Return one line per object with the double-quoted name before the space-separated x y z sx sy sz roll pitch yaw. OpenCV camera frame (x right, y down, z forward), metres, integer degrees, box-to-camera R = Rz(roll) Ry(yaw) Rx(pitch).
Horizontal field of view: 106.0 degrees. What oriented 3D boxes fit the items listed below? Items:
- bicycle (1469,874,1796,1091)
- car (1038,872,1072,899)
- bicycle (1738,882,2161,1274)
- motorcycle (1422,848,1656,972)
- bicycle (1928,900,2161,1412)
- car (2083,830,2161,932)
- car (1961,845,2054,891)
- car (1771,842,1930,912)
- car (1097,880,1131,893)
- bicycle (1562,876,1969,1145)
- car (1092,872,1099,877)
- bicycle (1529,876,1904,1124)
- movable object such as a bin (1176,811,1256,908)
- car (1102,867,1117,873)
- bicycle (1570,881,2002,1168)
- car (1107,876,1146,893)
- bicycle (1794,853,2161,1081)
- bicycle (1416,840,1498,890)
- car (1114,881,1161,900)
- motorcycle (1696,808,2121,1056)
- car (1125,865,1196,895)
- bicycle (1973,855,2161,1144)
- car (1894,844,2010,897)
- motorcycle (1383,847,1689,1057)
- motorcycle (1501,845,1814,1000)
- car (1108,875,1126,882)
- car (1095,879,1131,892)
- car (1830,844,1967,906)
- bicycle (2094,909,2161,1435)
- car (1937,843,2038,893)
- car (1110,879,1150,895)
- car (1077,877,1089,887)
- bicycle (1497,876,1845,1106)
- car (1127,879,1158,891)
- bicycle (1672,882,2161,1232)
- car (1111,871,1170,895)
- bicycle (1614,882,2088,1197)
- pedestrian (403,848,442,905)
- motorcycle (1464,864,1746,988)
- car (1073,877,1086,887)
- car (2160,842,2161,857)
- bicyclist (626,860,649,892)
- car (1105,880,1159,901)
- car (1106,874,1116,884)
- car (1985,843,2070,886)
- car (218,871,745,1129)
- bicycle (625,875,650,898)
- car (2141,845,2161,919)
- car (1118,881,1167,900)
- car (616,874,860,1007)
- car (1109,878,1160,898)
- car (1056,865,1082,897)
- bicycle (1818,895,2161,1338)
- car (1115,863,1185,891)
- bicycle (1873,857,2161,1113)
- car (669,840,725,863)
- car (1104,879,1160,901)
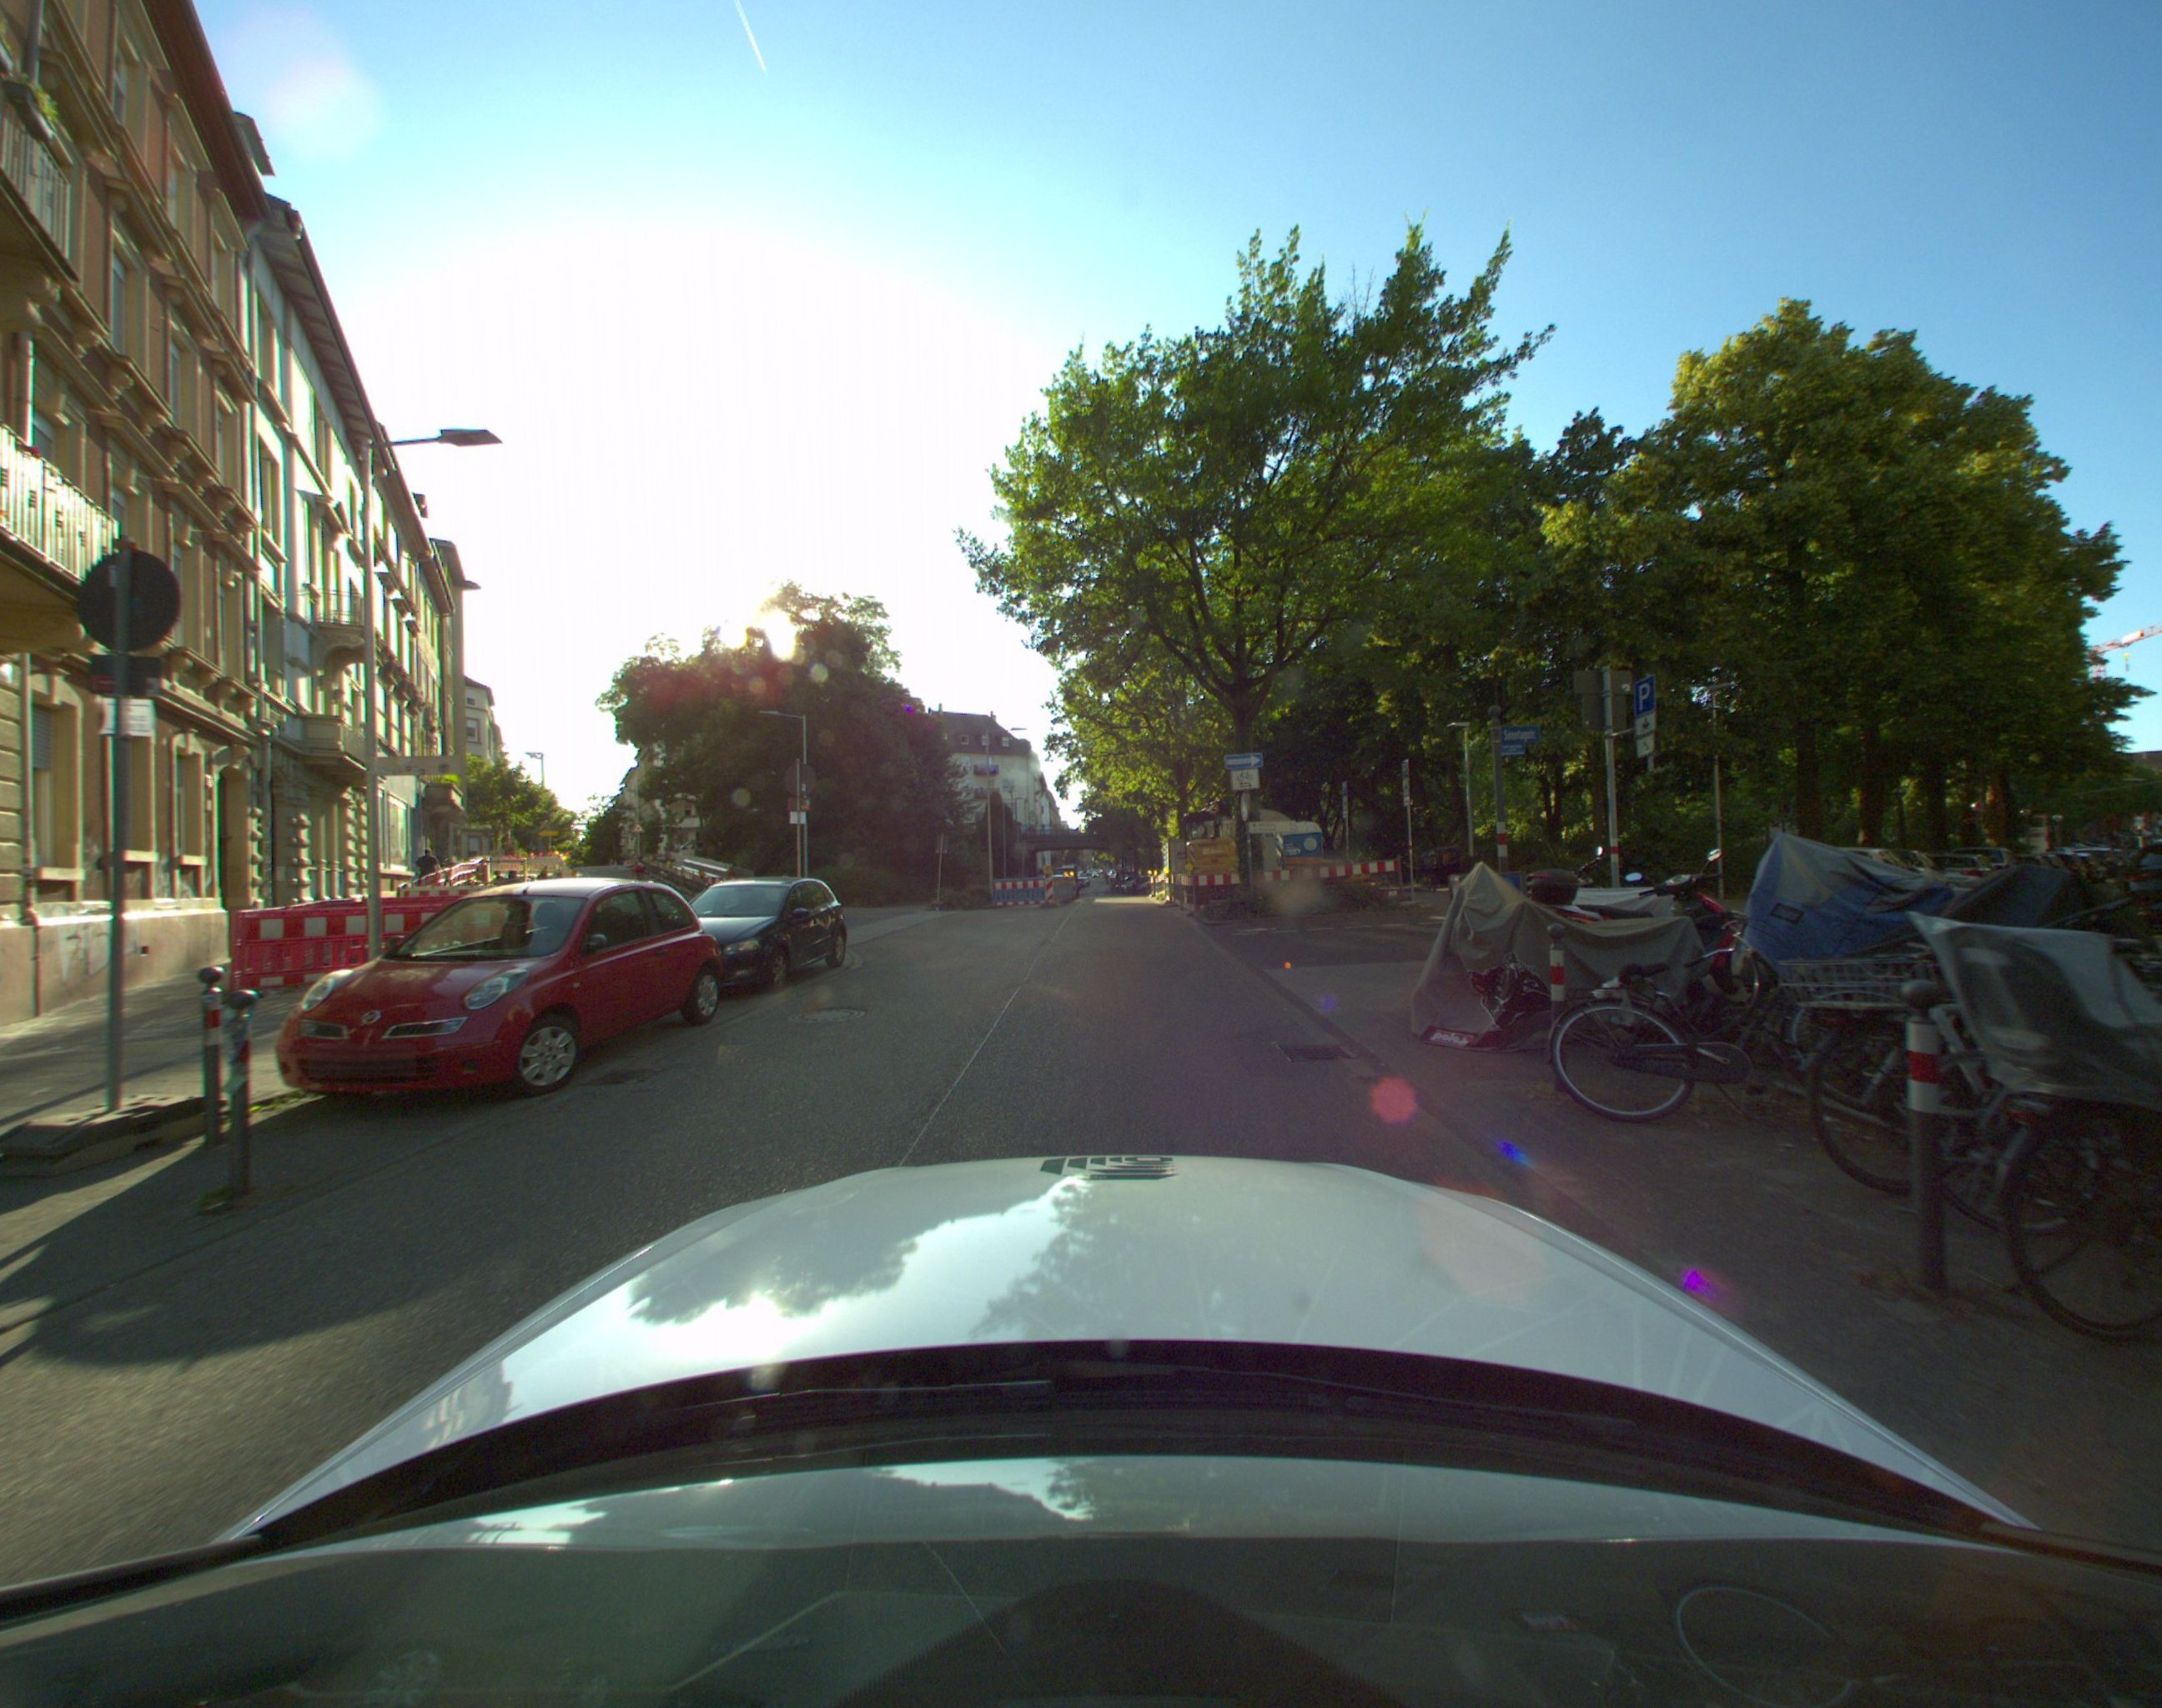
"bicycle" 3.497 0.788 5.188 1.921 1.246 0.302 -2 -1 -5
"car" -1.459 1.843 47.083 1.709 1.418 4.106 -3 -3 1
"bicycle" 3.426 0.755 2.956 1.902 1.246 0.302 -2 -1 -5
"motorcycle" 5.534 0.643 9.915 2.363 1.341 0.938 -2 -1 -8
"bicycle" 3.443 0.754 2.283 1.921 1.246 0.302 -2 -1 -5
"car" 16.800 0.370 12.169 4.384 1.378 1.977 1 -6 -36
"car" 35.293 0.533 31.006 4.016 1.586 1.861 2 0 -35
"car" 17.739 0.531 18.736 4.016 1.413 1.861 2 0 -35
"car" 4.373 4.306 108.312 4.374 1.610 1.779 -1 -4 -1
"bicycle" 3.523 0.772 4.214 1.921 1.246 0.302 -2 -1 -5
"car" 4.221 5.896 232.613 1.806 1.398 3.975 -3 -3 1
"bicycle" 3.535 0.778 4.552 1.921 1.246 0.302 -2 -1 -5
"movable object such as a bin" 4.148 0.170 24.618 1.979 2.699 3.123 -2 -1 15
"car" 8.692 4.902 247.194 4.371 1.610 1.781 -1 -4 1
"bicycle" 3.420 0.790 3.975 1.921 1.246 0.302 -2 -1 -5
"car" 5.284 3.582 94.275 4.374 1.862 1.915 -1 -4 -1
"bicycle" 5.471 0.648 4.964 1.921 1.246 0.452 -2 -1 -5
"bicycle" 10.585 0.308 23.044 1.024 1.285 2.139 -3 0 -10
"car" 5.500 3.576 79.339 4.374 1.785 1.915 -1 -4 -1
"motorcycle" 5.706 0.499 5.691 2.278 1.531 0.755 -2 -1 -5
"car" 5.496 1.803 56.578 4.729 1.997 1.915 -1 -4 -2
"bicycle" 5.464 0.630 3.917 1.921 1.246 0.479 -2 -1 -5
"car" 26.884 0.510 25.103 4.016 1.463 1.861 2 0 -35
"motorcycle" 3.472 0.687 6.372 1.913 1.412 0.947 -2 -1 29
"motorcycle" 5.279 0.631 7.616 2.267 1.341 0.658 -2 -1 13
"car" 8.620 5.830 196.218 4.371 1.610 1.781 -1 -4 1
"car" 4.027 4.000 102.696 4.374 1.610 1.779 -1 -4 -1
"car" 21.731 0.569 21.621 4.016 1.463 1.861 2 0 -35
"bicycle" 3.527 0.737 1.963 1.921 1.246 0.302 -2 -1 -5
"car" 31.894 0.503 28.645 4.016 1.586 1.861 2 0 -35
"car" 5.563 3.745 92.180 4.374 1.785 1.915 -1 -4 -1
"car" 0.362 4.616 133.993 1.806 1.398 3.975 -3 -3 1
"bicycle" 3.513 0.786 4.872 1.921 1.246 0.302 -2 -1 -5
"car" 8.721 4.419 116.221 4.371 1.610 1.781 -1 -4 1
"bicycle" 3.441 0.774 3.305 1.921 1.246 0.302 -2 -1 -5
"car" 4.531 2.239 62.215 4.374 1.702 1.915 -1 -4 -1
"bicycle" 3.420 0.786 3.641 1.921 1.246 0.302 -2 -1 -5
"pedestrian" -23.944 0.797 29.622 0.946 2.014 0.949 -1 -1 -32
"motorcycle" 5.371 0.736 8.549 2.266 1.180 0.975 -2 -1 14
"car" -0.262 4.278 124.103 1.806 1.398 3.975 -3 -3 1
"car" 26.929 0.435 18.965 4.014 1.520 1.753 1 -6 -33
"bicyclist" -19.919 0.986 36.545 0.809 1.383 0.975 -1 -1 -34
"car" 4.293 3.098 68.753 4.374 1.702 1.915 -1 -4 -1
"car" 5.446 4.481 146.231 1.768 1.610 4.403 -2 -2 2
"car" 39.320 0.442 33.806 4.016 1.586 1.861 2 0 -35
"car" -4.637 0.964 7.177 1.664 1.530 3.999 -2 -1 0
"bicycle" -19.899 1.435 36.534 0.809 0.968 2.086 -1 -1 -34
"car" 22.467 0.484 15.874 4.014 1.378 1.753 1 -6 -33
"car" 5.754 3.471 76.510 4.374 1.702 1.915 -1 -4 -1
"car" -4.597 1.066 11.631 1.663 1.458 4.001 -2 -1 2
"car" 4.798 3.071 73.431 4.374 1.702 1.915 -1 -4 -1
"car" -0.981 2.289 67.082 2.041 2.498 5.694 -1 -3 0
"bicycle" 3.436 0.772 2.626 1.921 1.246 0.302 -2 -1 -5
"car" 4.495 1.527 53.335 4.374 1.702 1.915 -1 -4 -1
"bicycle" 5.486 0.665 4.454 1.921 1.246 0.479 -2 -1 -5
"car" -34.721 -0.206 73.795 4.384 2.014 1.921 -1 -1 -21
"car" 4.099 2.925 65.865 4.374 1.702 1.915 -1 -4 -1
